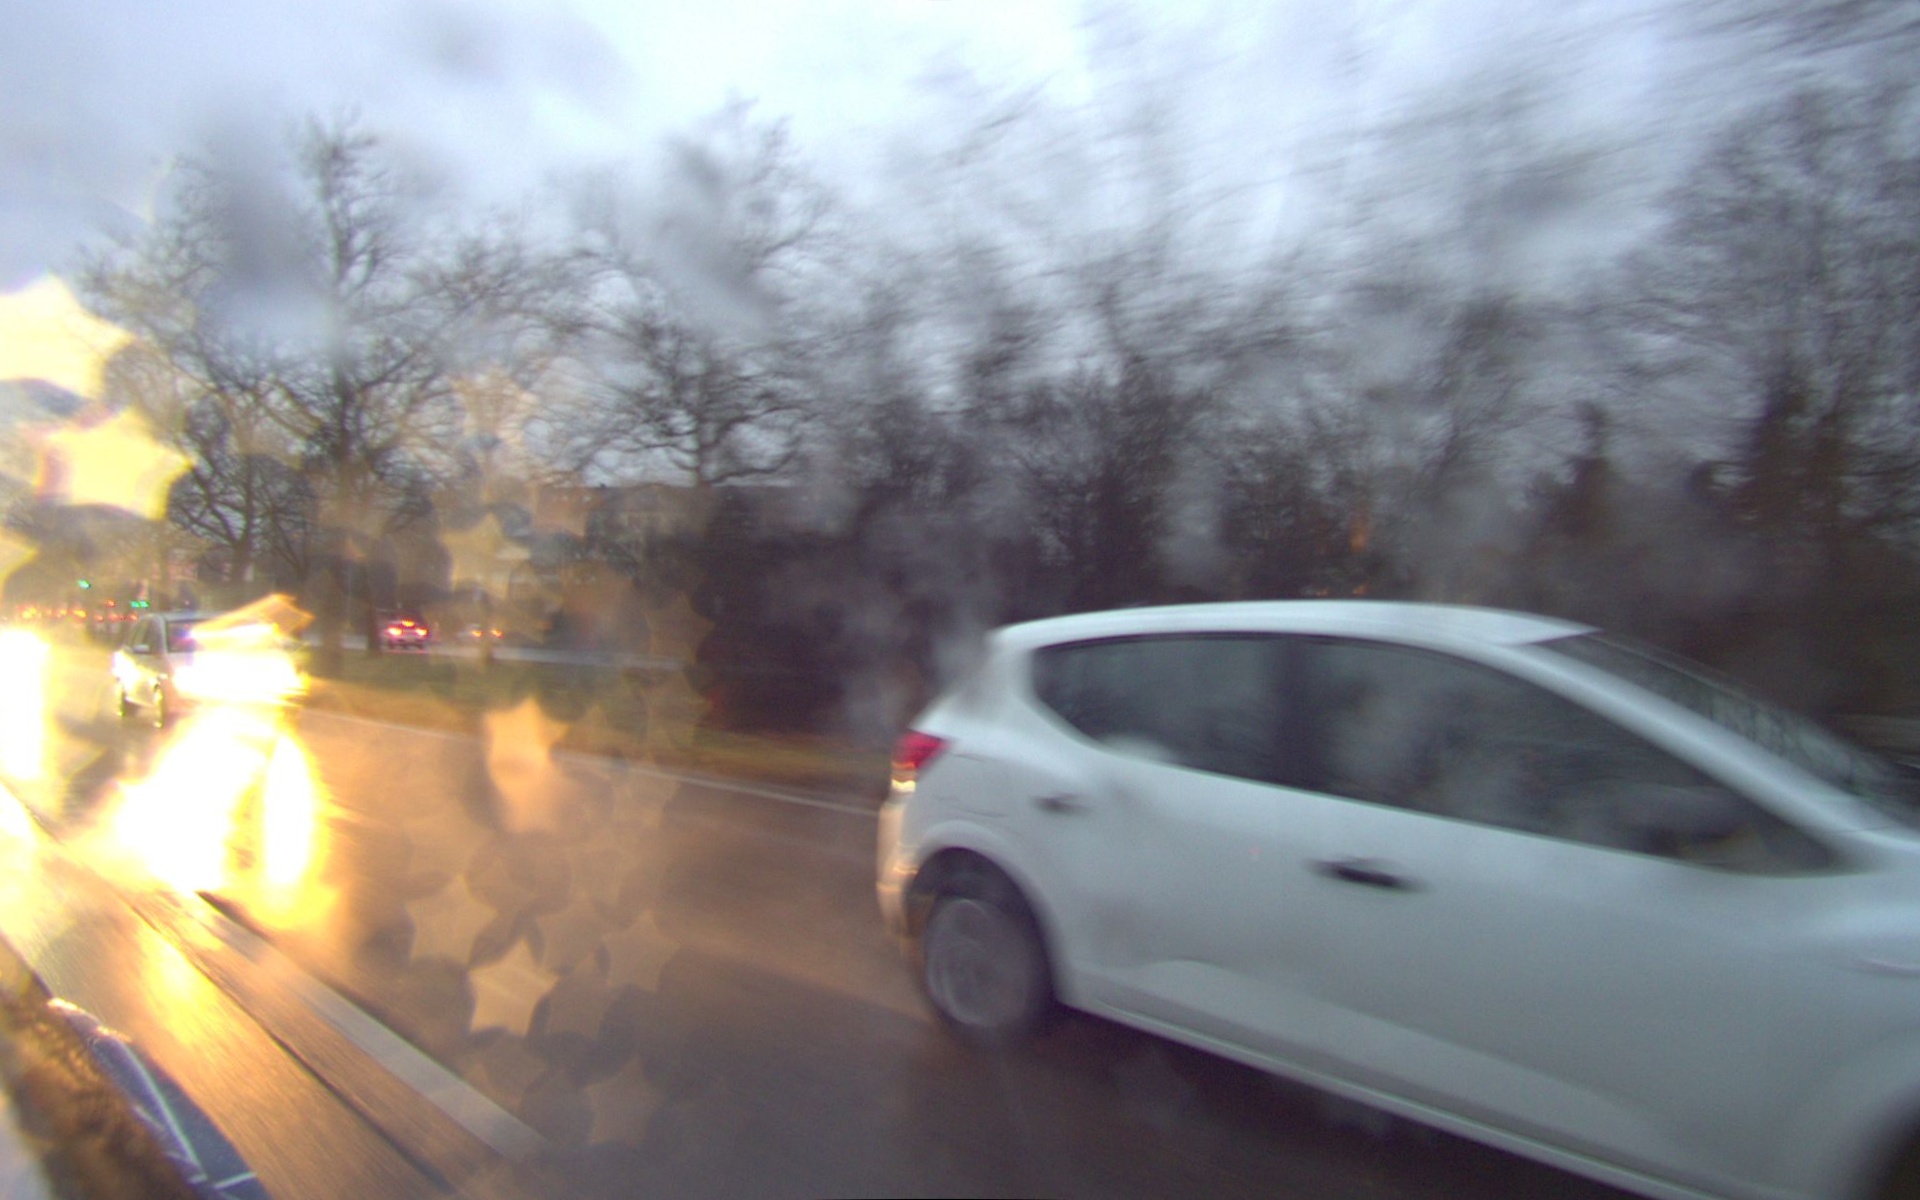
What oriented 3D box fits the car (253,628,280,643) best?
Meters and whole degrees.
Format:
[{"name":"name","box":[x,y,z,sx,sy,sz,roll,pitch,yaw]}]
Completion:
[{"name":"car","box":[-71.276,3.643,104.000,1.727,1.405,4.306,1,-1,-41]}]

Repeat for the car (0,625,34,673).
[{"name":"car","box":[-33.257,1.639,34.591,4.145,1.542,2.000,-1,-1,42]}]

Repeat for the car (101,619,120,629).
[{"name":"car","box":[-110.154,3.087,131.224,3.957,1.338,1.520,-1,-1,44]}]

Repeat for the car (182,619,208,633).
[{"name":"car","box":[-88.160,2.992,116.575,4.272,1.500,1.699,-1,-1,43]}]

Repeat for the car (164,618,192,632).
[{"name":"car","box":[-78.145,2.461,101.141,3.957,1.364,1.631,-1,-1,43]}]

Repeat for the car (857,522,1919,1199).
[{"name":"car","box":[1.732,0.624,2.916,4.226,1.451,1.705,-2,-3,43]}]

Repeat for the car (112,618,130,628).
[{"name":"car","box":[-118.029,3.241,142.322,4.001,1.321,1.520,-1,-1,44]}]

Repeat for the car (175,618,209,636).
[{"name":"car","box":[-68.452,2.359,90.189,4.378,1.545,1.764,-1,-1,43]}]

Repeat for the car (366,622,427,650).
[{"name":"car","box":[-30.509,1.938,54.751,3.978,1.436,1.729,-1,-1,43]}]

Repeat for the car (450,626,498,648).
[{"name":"car","box":[-31.873,2.418,66.357,4.106,1.312,1.560,-1,-1,45]}]

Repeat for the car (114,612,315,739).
[{"name":"car","box":[-11.136,0.994,15.001,4.166,1.611,1.741,-1,-1,44]}]

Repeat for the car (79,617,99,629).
[{"name":"car","box":[-112.753,2.981,131.064,4.000,1.514,1.552,0,0,43]}]

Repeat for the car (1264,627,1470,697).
[{"name":"car","box":[9.008,1.310,22.584,3.957,1.364,1.631,-1,-1,43]}]
